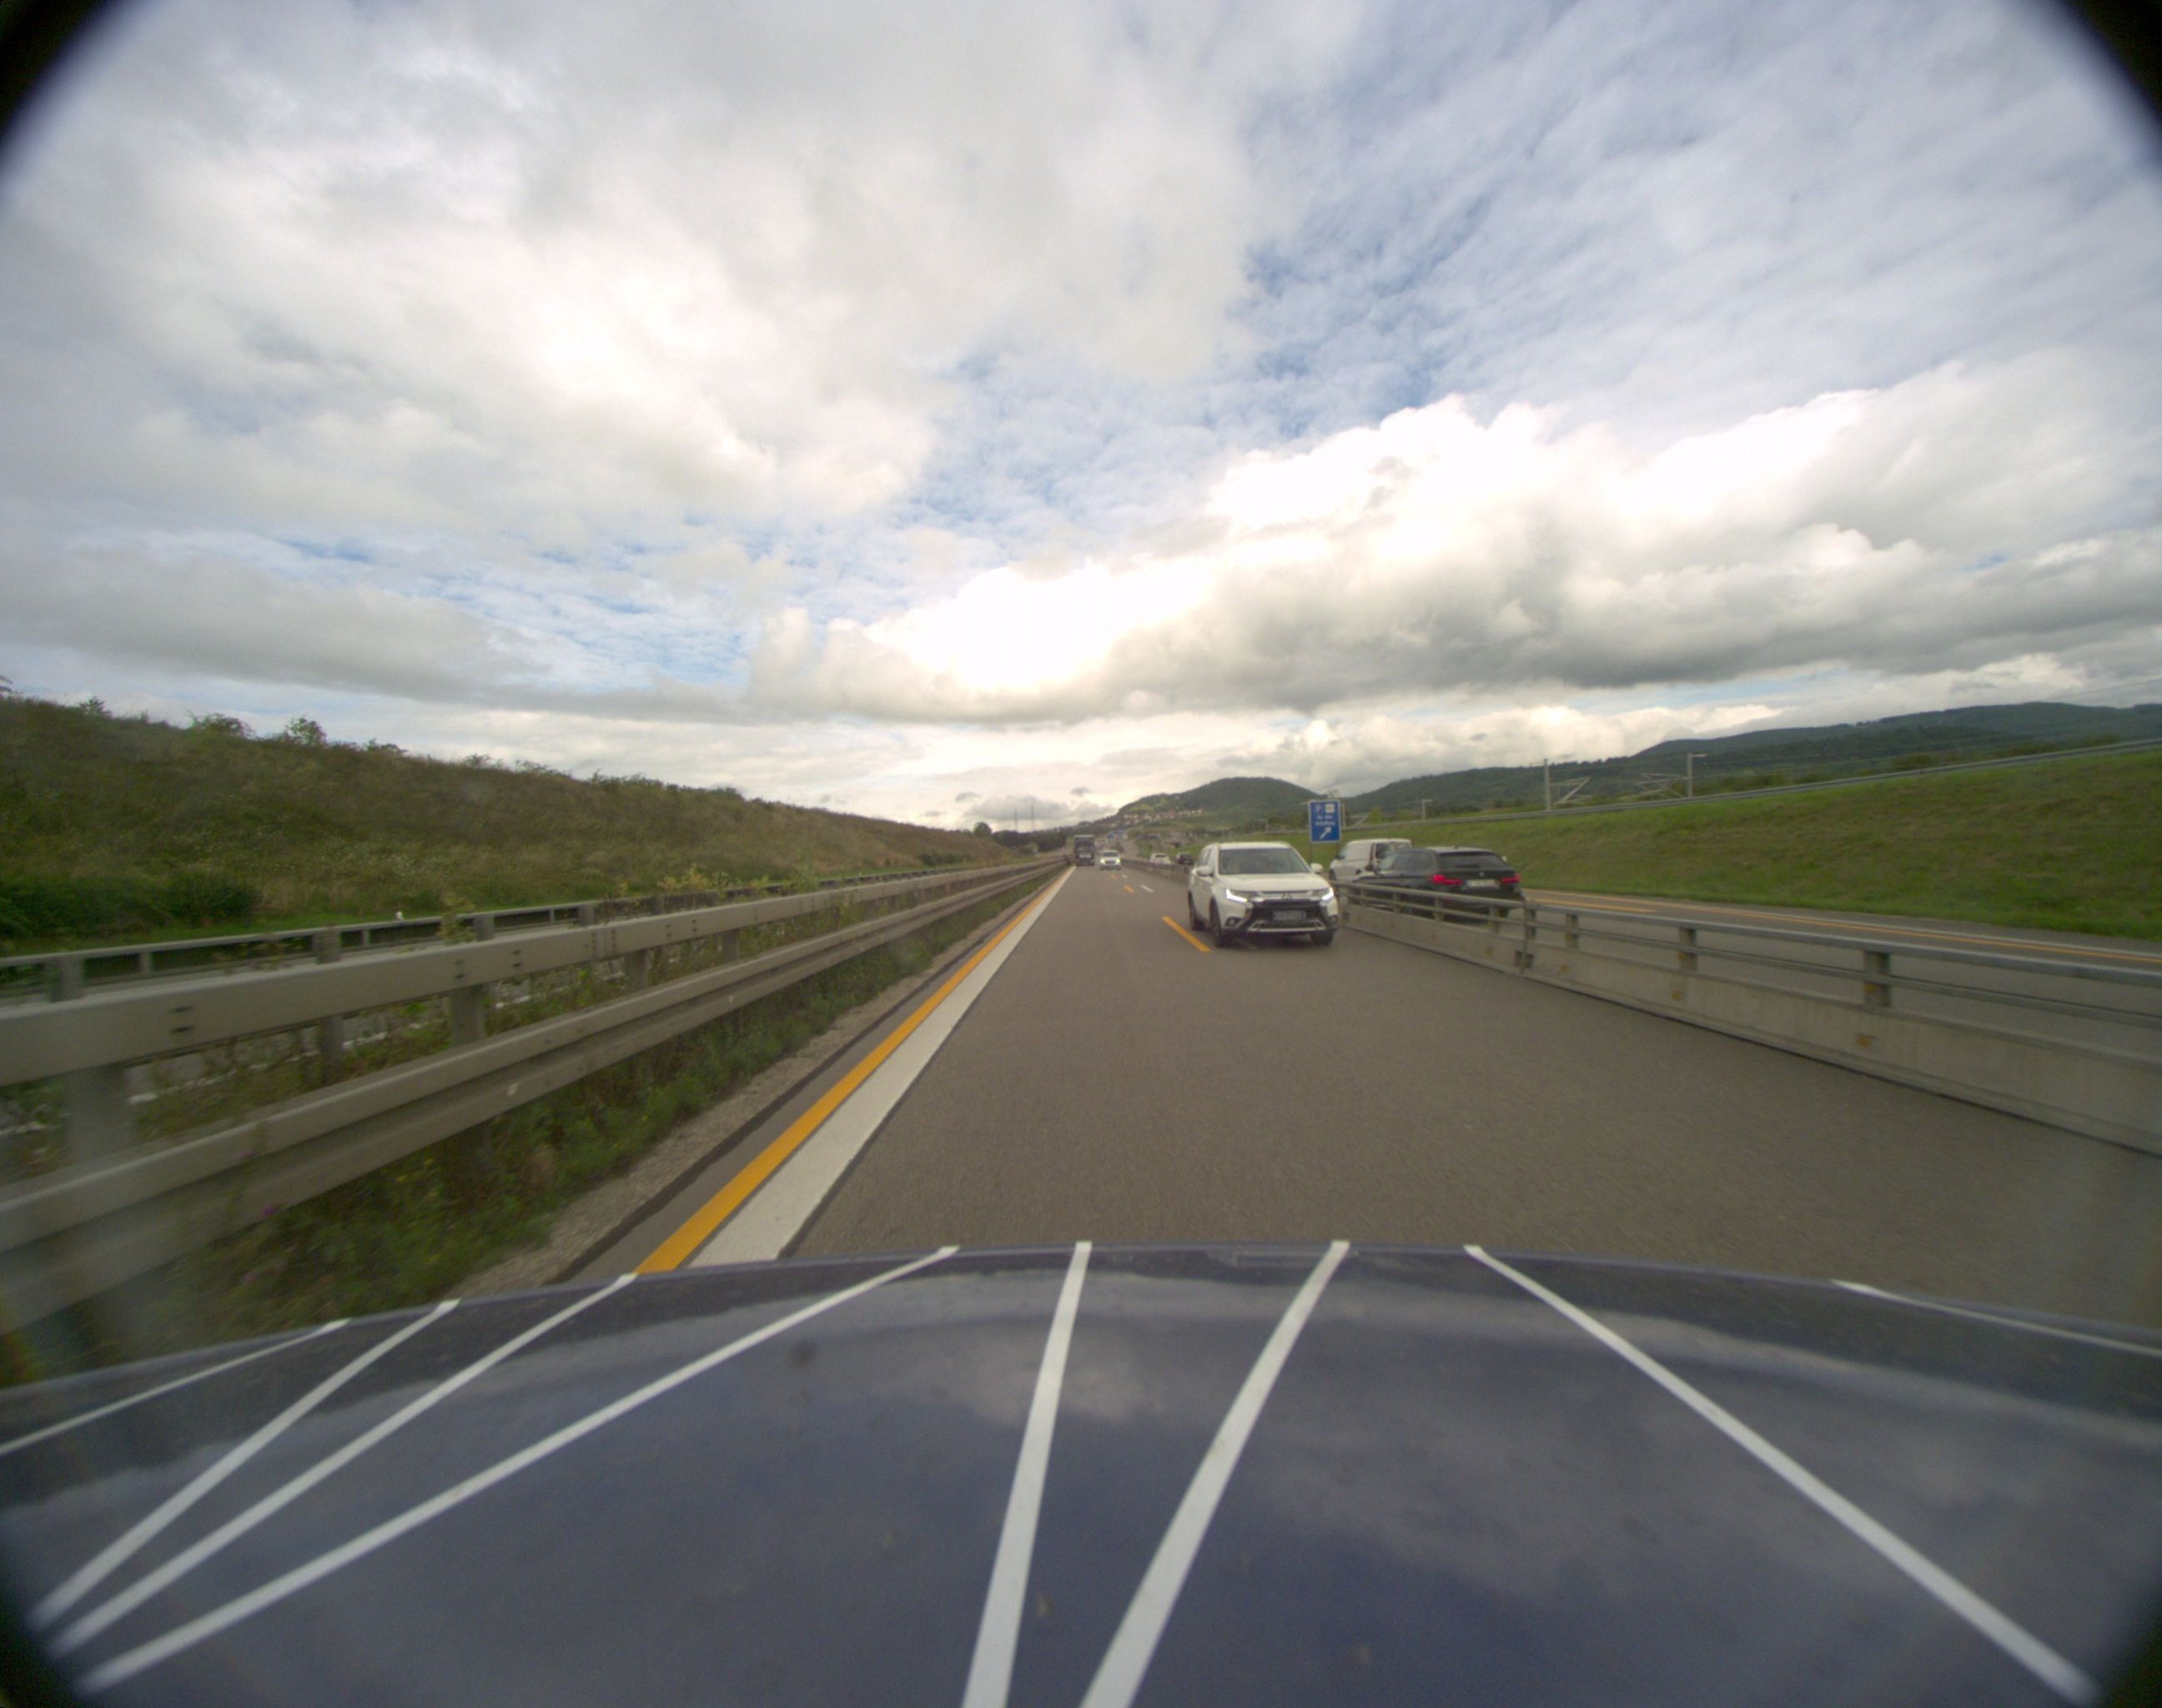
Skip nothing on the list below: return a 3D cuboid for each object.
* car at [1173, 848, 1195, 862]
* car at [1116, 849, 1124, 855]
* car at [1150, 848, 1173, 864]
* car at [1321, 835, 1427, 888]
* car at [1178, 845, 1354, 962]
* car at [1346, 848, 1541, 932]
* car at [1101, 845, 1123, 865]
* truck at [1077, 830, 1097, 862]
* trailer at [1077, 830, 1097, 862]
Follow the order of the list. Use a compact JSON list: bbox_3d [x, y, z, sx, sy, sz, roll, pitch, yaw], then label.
[{"bbox_3d":[10.862,0.068,80.149,1.761,1.380,4.000,-2,0,1],"label":"car"},{"bbox_3d":[8.854,-0.509,171.992,1.761,1.380,4.000,-2,0,1],"label":"car"},{"bbox_3d":[7.399,0.145,70.029,1.761,1.380,4.327,-2,0,2],"label":"car"},{"bbox_3d":[10.771,0.241,28.383,1.998,1.781,4.933,-2,0,0],"label":"car"},{"bbox_3d":[2.902,0.689,13.010,1.998,1.618,4.607,-1,0,2],"label":"car"},{"bbox_3d":[7.214,0.629,15.735,1.941,1.460,4.589,-1,0,1],"label":"car"},{"bbox_3d":[2.953,0.053,72.837,1.991,1.788,4.585,-2,1,1],"label":"car"},{"bbox_3d":[0.803,-1.065,100.165,2.521,4.081,5.684,-2,1,1],"label":"truck"},{"bbox_3d":[0.921,-1.123,105.455,2.521,4.081,11.112,-2,1,1],"label":"trailer"}]
